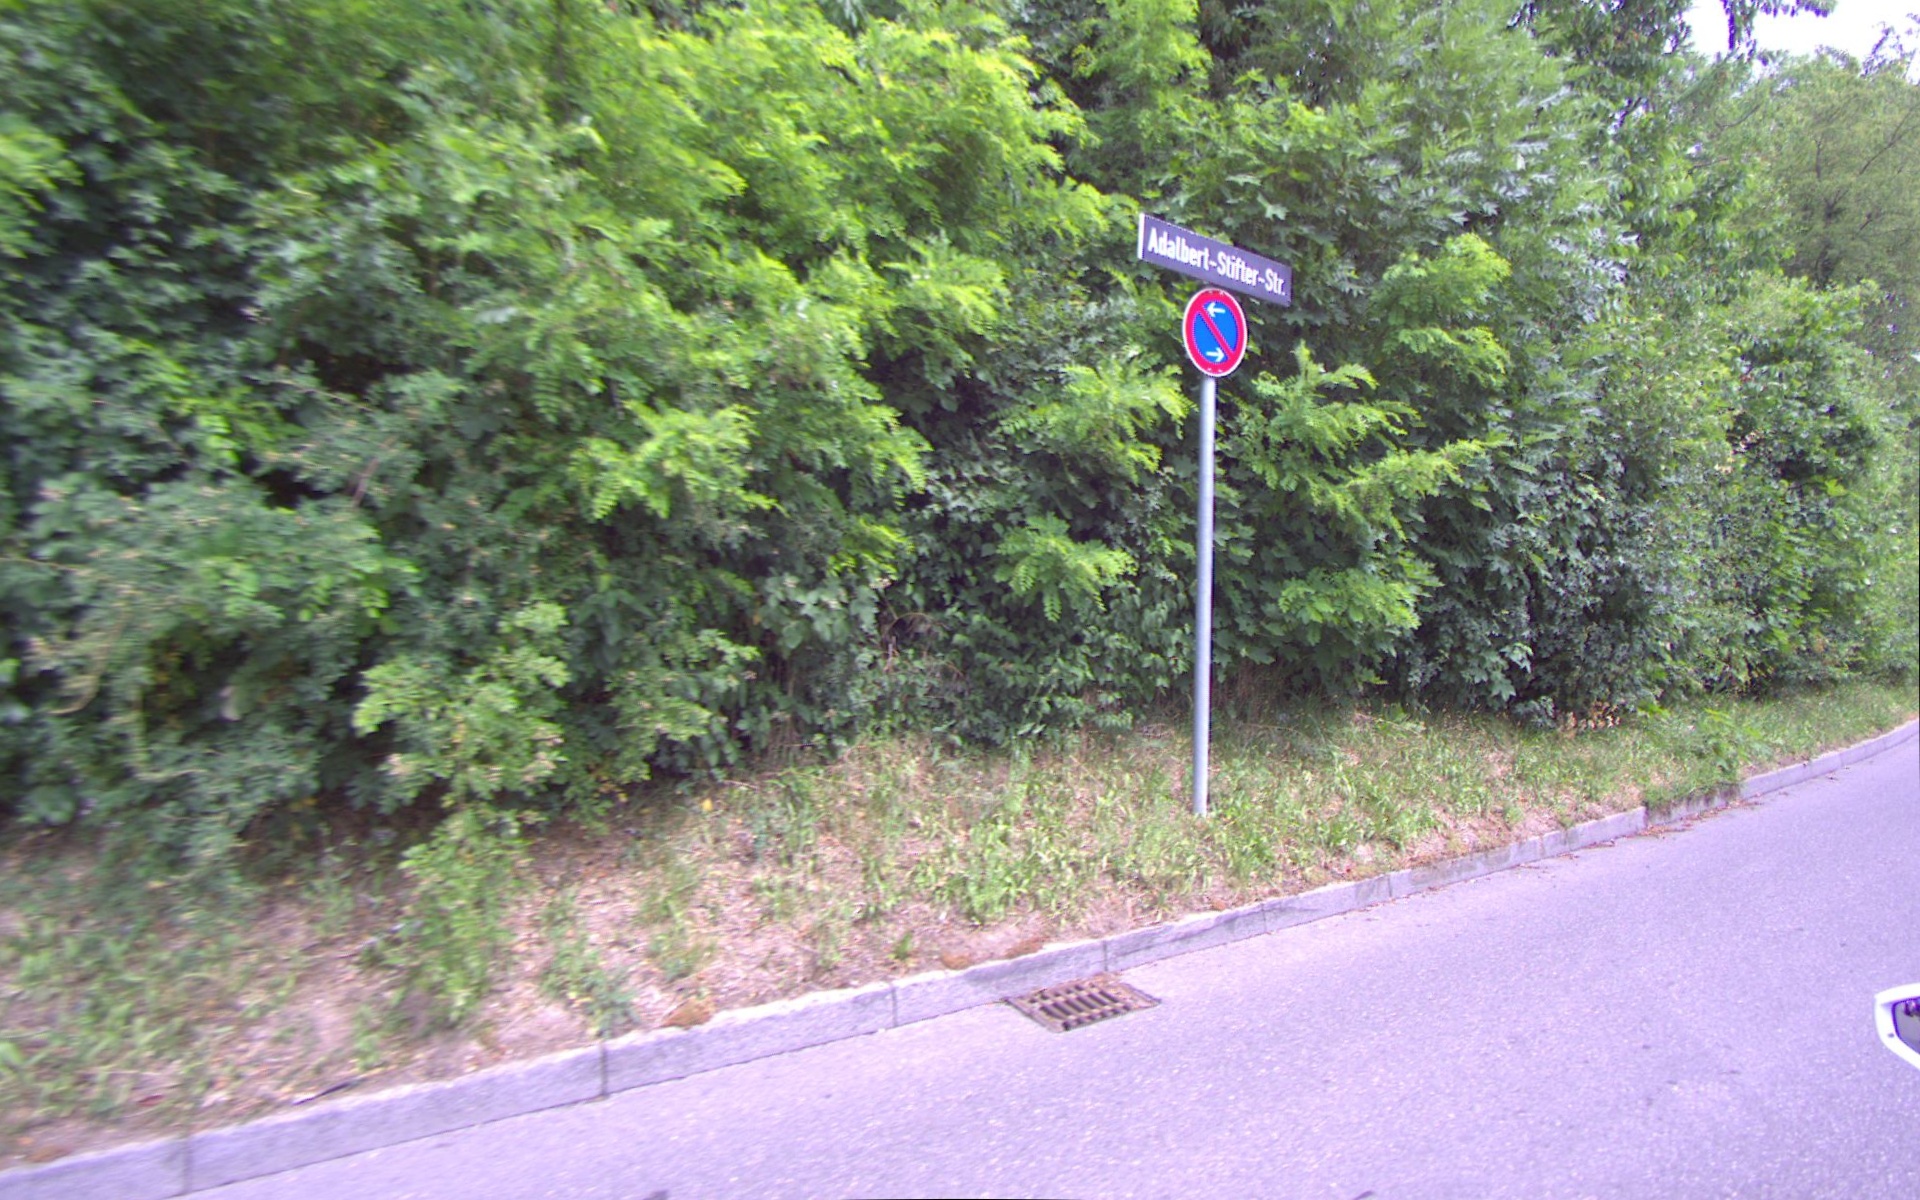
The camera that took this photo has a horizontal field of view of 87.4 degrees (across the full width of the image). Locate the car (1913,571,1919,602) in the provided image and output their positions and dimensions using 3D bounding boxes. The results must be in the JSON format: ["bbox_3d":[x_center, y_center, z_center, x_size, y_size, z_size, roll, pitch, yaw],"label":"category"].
[{"bbox_3d":[48.973,-0.618,49.611,1.814,1.537,3.991,2,3,30],"label":"car"}]
